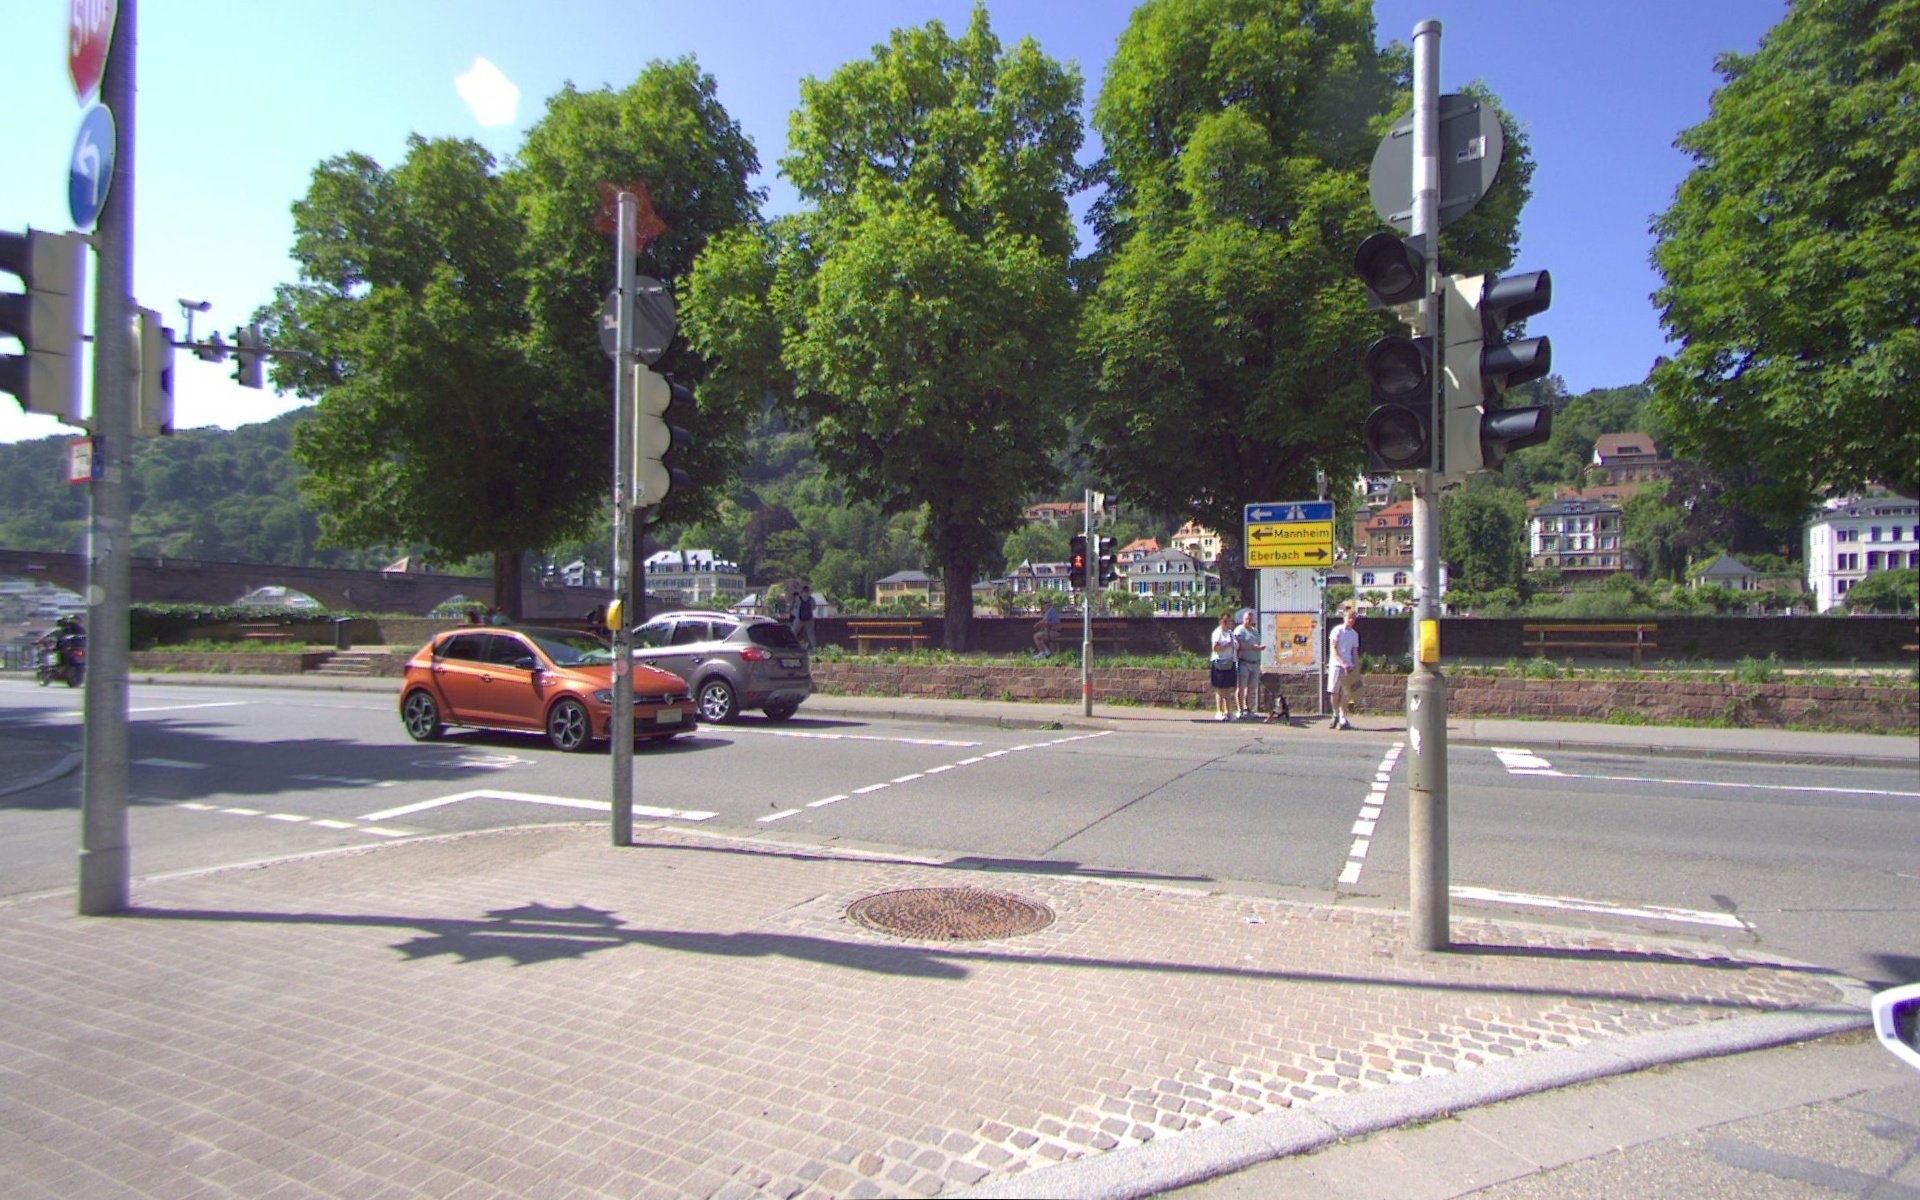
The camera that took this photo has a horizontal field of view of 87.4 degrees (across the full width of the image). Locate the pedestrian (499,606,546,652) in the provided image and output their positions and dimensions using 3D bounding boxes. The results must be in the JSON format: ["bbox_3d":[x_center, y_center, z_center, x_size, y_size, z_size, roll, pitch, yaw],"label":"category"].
[{"bbox_3d":[-12.652,0.847,29.072,0.460,1.287,1.222,-1,-2,29],"label":"pedestrian"}]

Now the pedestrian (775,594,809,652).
[{"bbox_3d":[-5.172,0.707,30.934,0.696,1.754,0.757,0,-2,21],"label":"pedestrian"}]

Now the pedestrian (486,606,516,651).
[{"bbox_3d":[-13.272,0.826,29.056,0.460,1.287,0.631,-1,-2,29],"label":"pedestrian"}]

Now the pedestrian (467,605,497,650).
[{"bbox_3d":[-14.032,0.811,29.480,0.460,1.287,0.631,-1,-2,29],"label":"pedestrian"}]

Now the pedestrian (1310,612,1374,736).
[{"bbox_3d":[5.754,1.101,15.134,0.696,1.825,0.576,1,-2,-26],"label":"pedestrian"}]

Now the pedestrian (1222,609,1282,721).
[{"bbox_3d":[4.850,1.067,16.712,0.711,1.793,0.683,2,-2,-39],"label":"pedestrian"}]

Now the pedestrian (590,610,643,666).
[{"bbox_3d":[-9.334,1.041,27.354,0.460,1.499,1.383,-1,-2,29],"label":"pedestrian"}]

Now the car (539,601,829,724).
[{"bbox_3d":[-4.544,1.002,16.562,4.325,1.776,1.844,1,-5,23],"label":"car"}]

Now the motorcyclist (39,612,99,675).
[{"bbox_3d":[-22.024,1.073,24.841,0.758,1.513,0.818,-1,-2,23],"label":"motorcyclist"}]

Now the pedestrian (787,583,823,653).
[{"bbox_3d":[-4.237,0.508,27.445,0.749,1.882,0.757,1,-2,8],"label":"pedestrian"}]

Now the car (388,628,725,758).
[{"bbox_3d":[-5.134,1.083,12.759,3.942,1.424,1.729,0,-2,25],"label":"car"}]

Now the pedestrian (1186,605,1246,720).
[{"bbox_3d":[4.193,1.021,16.465,0.717,1.825,0.628,2,-4,-35],"label":"pedestrian"}]

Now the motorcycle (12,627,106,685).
[{"bbox_3d":[-22.449,1.372,25.016,2.424,1.394,0.763,-1,-2,23],"label":"motorcycle"}]

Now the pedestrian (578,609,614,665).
[{"bbox_3d":[-9.923,1.015,27.391,0.460,1.512,0.803,-1,-2,29],"label":"pedestrian"}]

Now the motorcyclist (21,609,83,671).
[{"bbox_3d":[-22.724,0.997,25.152,0.858,1.514,0.818,1,-2,23],"label":"motorcyclist"}]

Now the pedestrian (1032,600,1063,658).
[{"bbox_3d":[1.900,0.638,21.782,0.630,1.244,0.414,0,-3,9],"label":"pedestrian"}]
